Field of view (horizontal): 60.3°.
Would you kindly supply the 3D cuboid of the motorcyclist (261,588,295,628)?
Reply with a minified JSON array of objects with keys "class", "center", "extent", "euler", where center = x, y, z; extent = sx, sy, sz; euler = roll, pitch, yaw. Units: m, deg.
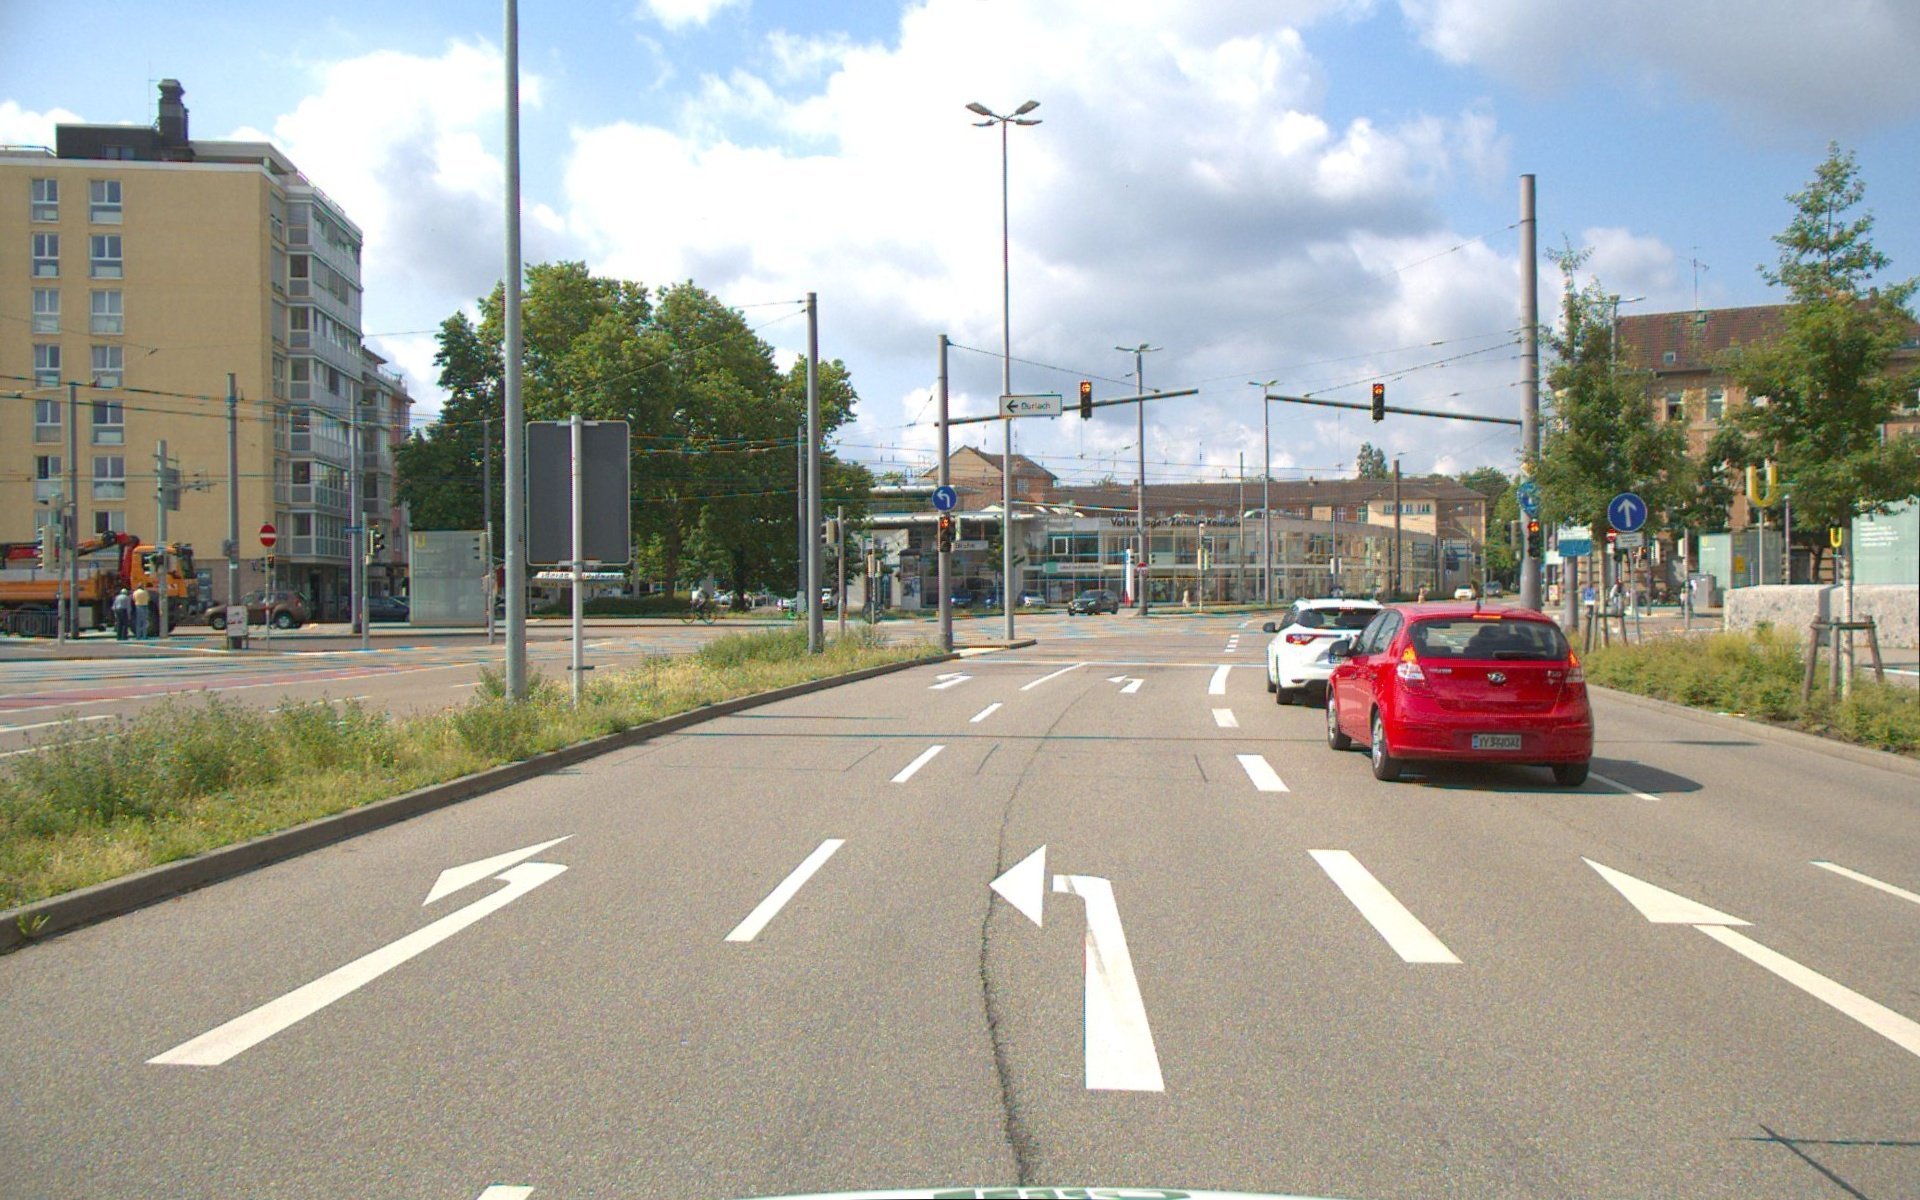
[{"class":"motorcyclist","center":[-30.630,0.351,74.302],"extent":[0.868,1.813,1.243],"euler":[-1,0,12]}]

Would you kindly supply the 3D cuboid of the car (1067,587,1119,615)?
[{"class":"car","center":[7.706,0.056,95.490],"extent":[1.952,1.557,4.000],"euler":[0,0,21]}]

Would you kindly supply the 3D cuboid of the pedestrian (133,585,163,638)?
[{"class":"pedestrian","center":[-29.288,0.403,59.638],"extent":[0.636,1.901,0.782],"euler":[0,0,8]}]

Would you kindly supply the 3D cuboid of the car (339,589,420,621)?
[{"class":"car","center":[-31.443,0.241,89.733],"extent":[3.917,1.691,1.994],"euler":[0,0,-13]}]

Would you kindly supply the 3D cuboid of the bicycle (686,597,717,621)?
[{"class":"bicycle","center":[-12.754,0.435,81.634],"extent":[1.440,1.136,0.585],"euler":[-1,0,-14]}]

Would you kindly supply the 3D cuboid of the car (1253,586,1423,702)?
[{"class":"car","center":[5.353,0.564,23.923],"extent":[1.809,1.498,4.338],"euler":[-1,0,5]}]

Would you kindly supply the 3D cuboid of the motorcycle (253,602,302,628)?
[{"class":"motorcycle","center":[-30.618,0.665,74.252],"extent":[0.764,1.134,2.437],"euler":[-1,0,12]}]

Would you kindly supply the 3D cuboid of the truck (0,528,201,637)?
[{"class":"truck","center":[-32.770,-0.648,61.642],"extent":[7.771,3.923,2.195],"euler":[-1,0,-11]}]

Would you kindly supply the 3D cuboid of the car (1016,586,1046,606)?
[{"class":"car","center":[5.731,-0.350,133.996],"extent":[1.954,1.624,3.997],"euler":[0,0,-4]}]

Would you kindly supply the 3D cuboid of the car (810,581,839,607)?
[{"class":"car","center":[-11.135,-0.510,136.134],"extent":[1.952,2.049,4.001],"euler":[-1,0,2]}]

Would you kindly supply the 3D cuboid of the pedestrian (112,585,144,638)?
[{"class":"pedestrian","center":[-30.053,0.414,59.748],"extent":[0.684,1.892,0.820],"euler":[0,0,7]}]

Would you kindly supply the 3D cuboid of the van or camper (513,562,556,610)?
[{"class":"van or camper","center":[-26.981,-0.886,104.920],"extent":[2.538,2.959,6.075],"euler":[-1,0,-15]}]

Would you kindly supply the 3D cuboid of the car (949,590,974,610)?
[{"class":"car","center":[0.164,-0.049,133.534],"extent":[1.952,1.579,4.079],"euler":[0,0,1]}]

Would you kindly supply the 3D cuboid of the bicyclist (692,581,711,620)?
[{"class":"bicyclist","center":[-12.748,0.039,81.602],"extent":[0.871,1.903,0.761],"euler":[0,0,-15]}]

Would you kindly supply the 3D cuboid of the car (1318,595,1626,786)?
[{"class":"car","center":[4.476,0.707,15.095],"extent":[1.778,1.464,4.069],"euler":[1,0,4]}]

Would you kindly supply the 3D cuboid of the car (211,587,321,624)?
[{"class":"car","center":[-29.735,0.216,70.975],"extent":[3.991,1.534,1.811],"euler":[0,0,-8]}]

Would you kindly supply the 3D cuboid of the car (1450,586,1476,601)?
[{"class":"car","center":[48.761,-0.652,160.184],"extent":[1.953,1.467,3.998],"euler":[0,0,24]}]

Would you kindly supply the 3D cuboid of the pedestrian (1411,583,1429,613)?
[{"class":"pedestrian","center":[24.511,-0.099,88.088],"extent":[0.666,1.562,0.667],"euler":[-1,0,-32]}]

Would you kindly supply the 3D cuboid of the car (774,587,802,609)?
[{"class":"car","center":[-14.217,-0.166,136.835],"extent":[1.760,1.800,4.001],"euler":[-1,0,2]}]
